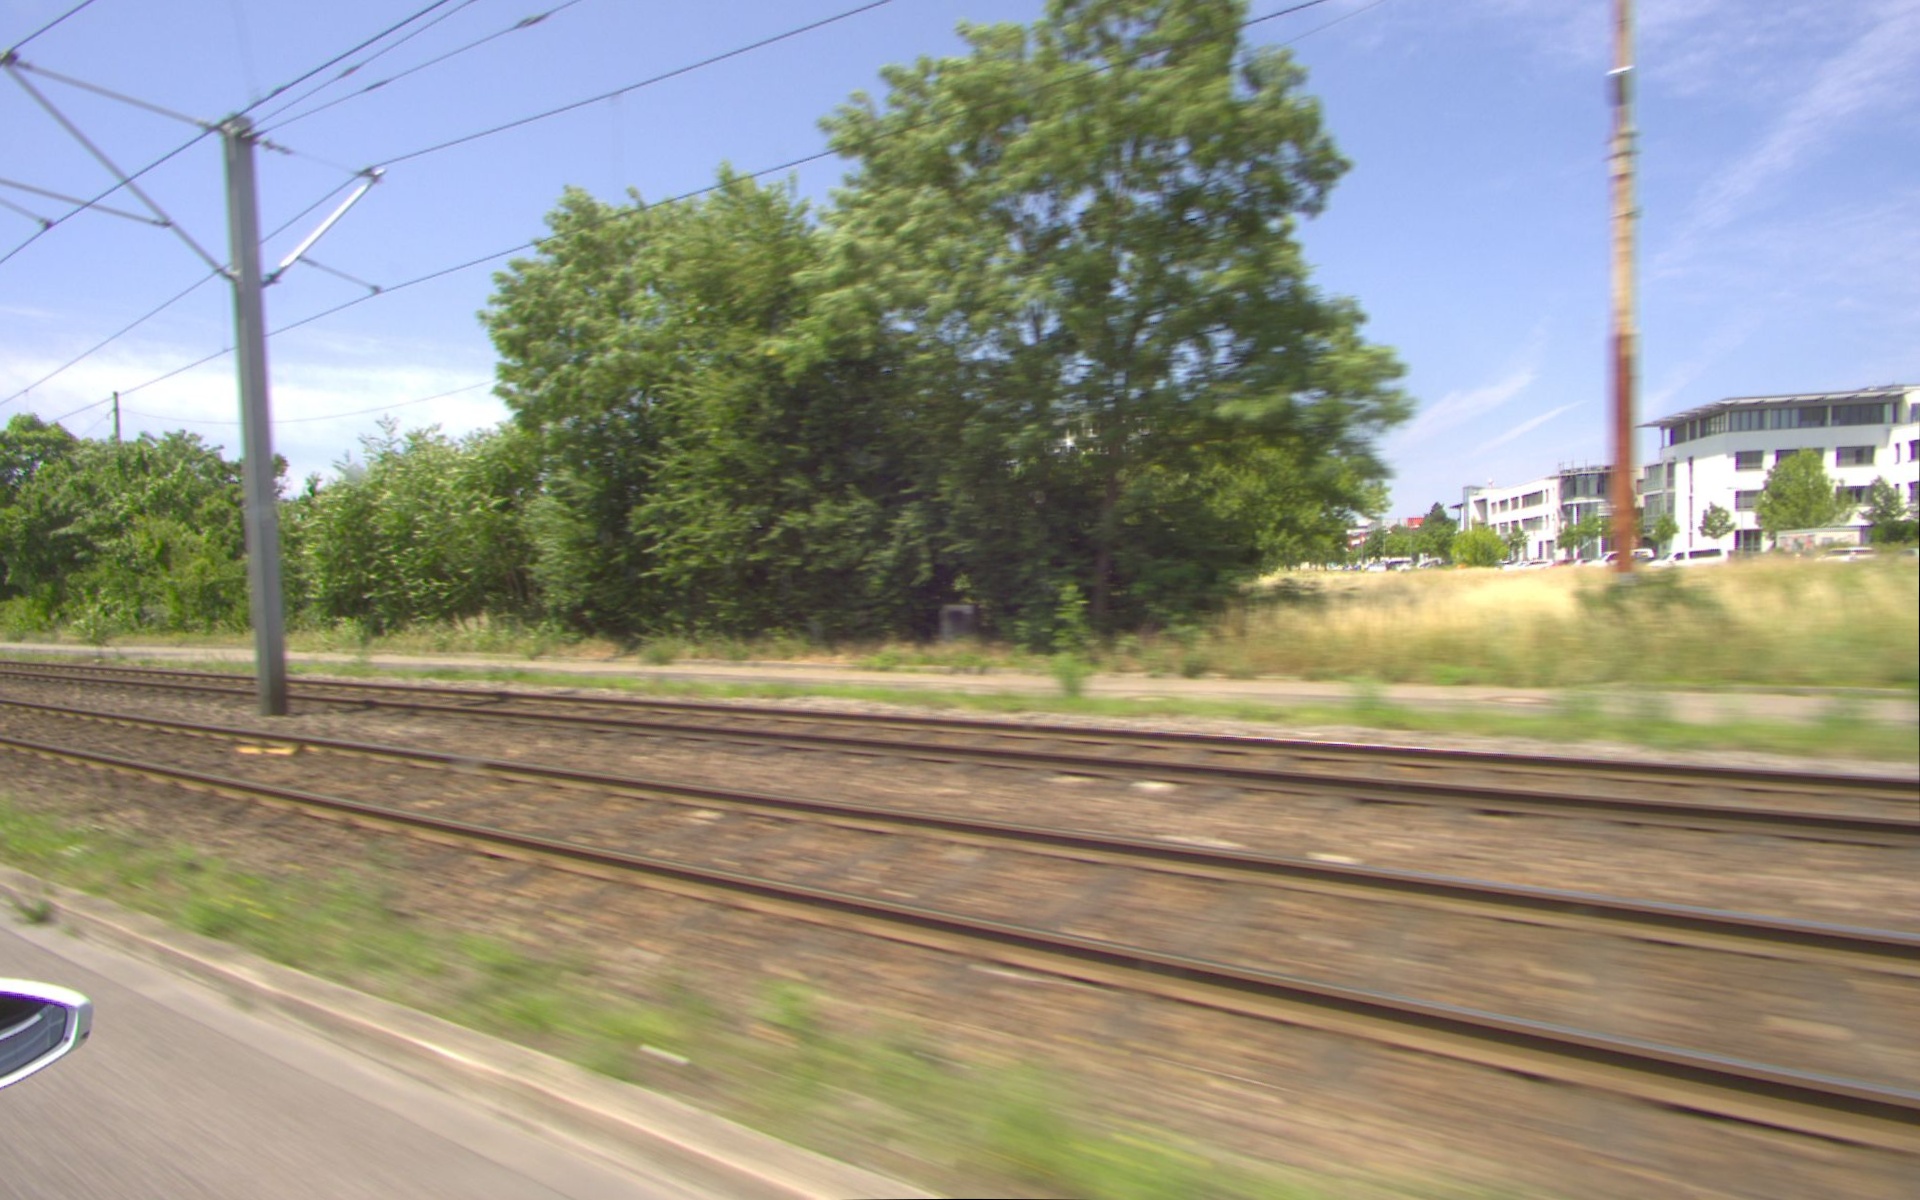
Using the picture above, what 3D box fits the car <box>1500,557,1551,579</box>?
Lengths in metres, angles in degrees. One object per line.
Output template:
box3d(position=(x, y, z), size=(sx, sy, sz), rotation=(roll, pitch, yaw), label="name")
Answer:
box3d(position=(58.717, -3.310, 104.090), size=(4.286, 2.040, 1.996), rotation=(-1, 1, 17), label="car")

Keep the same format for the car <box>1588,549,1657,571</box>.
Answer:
box3d(position=(53.471, -3.202, 80.900), size=(4.286, 1.598, 1.832), rotation=(-1, 1, 17), label="car")

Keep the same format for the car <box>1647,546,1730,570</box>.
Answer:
box3d(position=(50.829, -2.904, 69.975), size=(4.286, 1.472, 1.832), rotation=(-1, 1, 17), label="car")
